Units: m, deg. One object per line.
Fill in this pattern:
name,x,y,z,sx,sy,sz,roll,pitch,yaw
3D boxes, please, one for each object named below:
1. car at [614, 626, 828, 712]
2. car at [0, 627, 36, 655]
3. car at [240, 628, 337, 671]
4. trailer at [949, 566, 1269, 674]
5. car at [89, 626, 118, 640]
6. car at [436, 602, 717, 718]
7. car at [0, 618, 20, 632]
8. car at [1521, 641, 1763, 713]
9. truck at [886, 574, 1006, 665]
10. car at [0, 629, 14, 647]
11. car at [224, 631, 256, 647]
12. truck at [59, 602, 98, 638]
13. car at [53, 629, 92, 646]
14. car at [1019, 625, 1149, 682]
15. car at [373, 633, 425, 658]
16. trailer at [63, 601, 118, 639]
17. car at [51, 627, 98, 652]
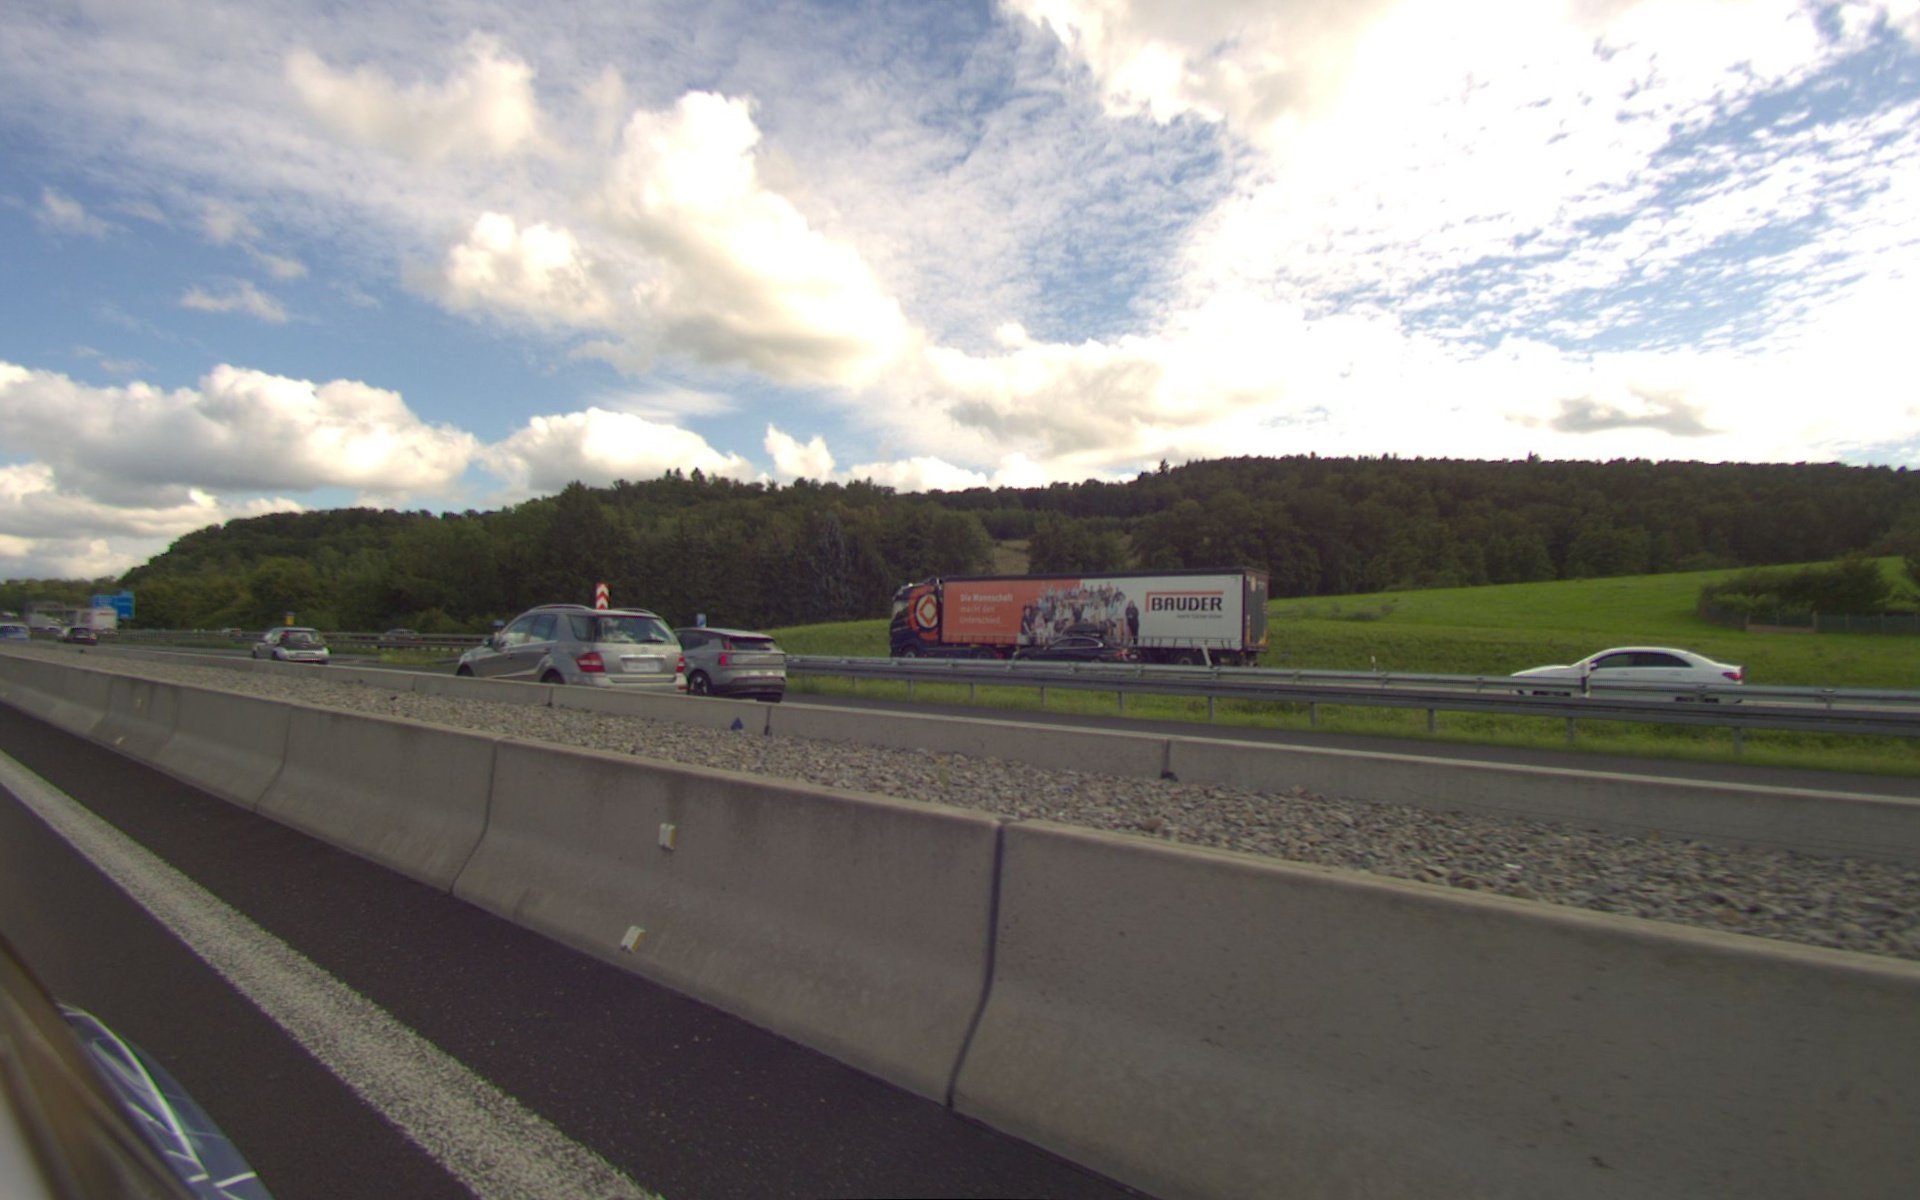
car,-4.959,1.331,20.678,4.505,1.544,1.973,-1,-3,41
car,-57.129,2.422,60.696,5.416,1.630,1.907,-1,-3,41
car,-25.146,1.825,37.848,4.179,1.467,1.972,-1,-3,41
trailer,5.418,0.807,40.144,13.223,3.765,1.975,-1,-3,37
car,-102.978,3.993,121.693,4.706,1.630,1.972,-1,-3,41
car,-6.157,0.875,15.938,5.018,1.544,1.973,-1,-3,41
car,-114.078,2.965,121.037,5.000,1.630,1.972,-1,-3,41
car,15.298,1.685,22.966,4.386,1.411,1.758,-1,-3,33
truck,-0.647,0.888,44.743,5.141,3.790,1.975,-1,-3,37
car,-90.445,3.536,94.898,5.000,1.630,1.972,-1,-3,41
car,-78.416,4.231,110.199,3.477,1.630,1.784,-1,-3,37
truck,-128.782,2.921,147.821,6.623,5.181,2.995,-1,-3,39
car,-83.526,3.526,95.246,4.998,1.462,1.973,-1,-3,40
car,4.449,1.891,36.635,4.391,1.912,1.756,-1,-3,37
car,-38.951,3.152,70.275,4.300,1.630,1.782,-1,-3,41
trailer,-123.500,2.856,143.617,14.700,5.200,3.078,-1,-3,39
car,-59.458,2.639,67.929,4.300,1.630,1.782,-1,-3,41
